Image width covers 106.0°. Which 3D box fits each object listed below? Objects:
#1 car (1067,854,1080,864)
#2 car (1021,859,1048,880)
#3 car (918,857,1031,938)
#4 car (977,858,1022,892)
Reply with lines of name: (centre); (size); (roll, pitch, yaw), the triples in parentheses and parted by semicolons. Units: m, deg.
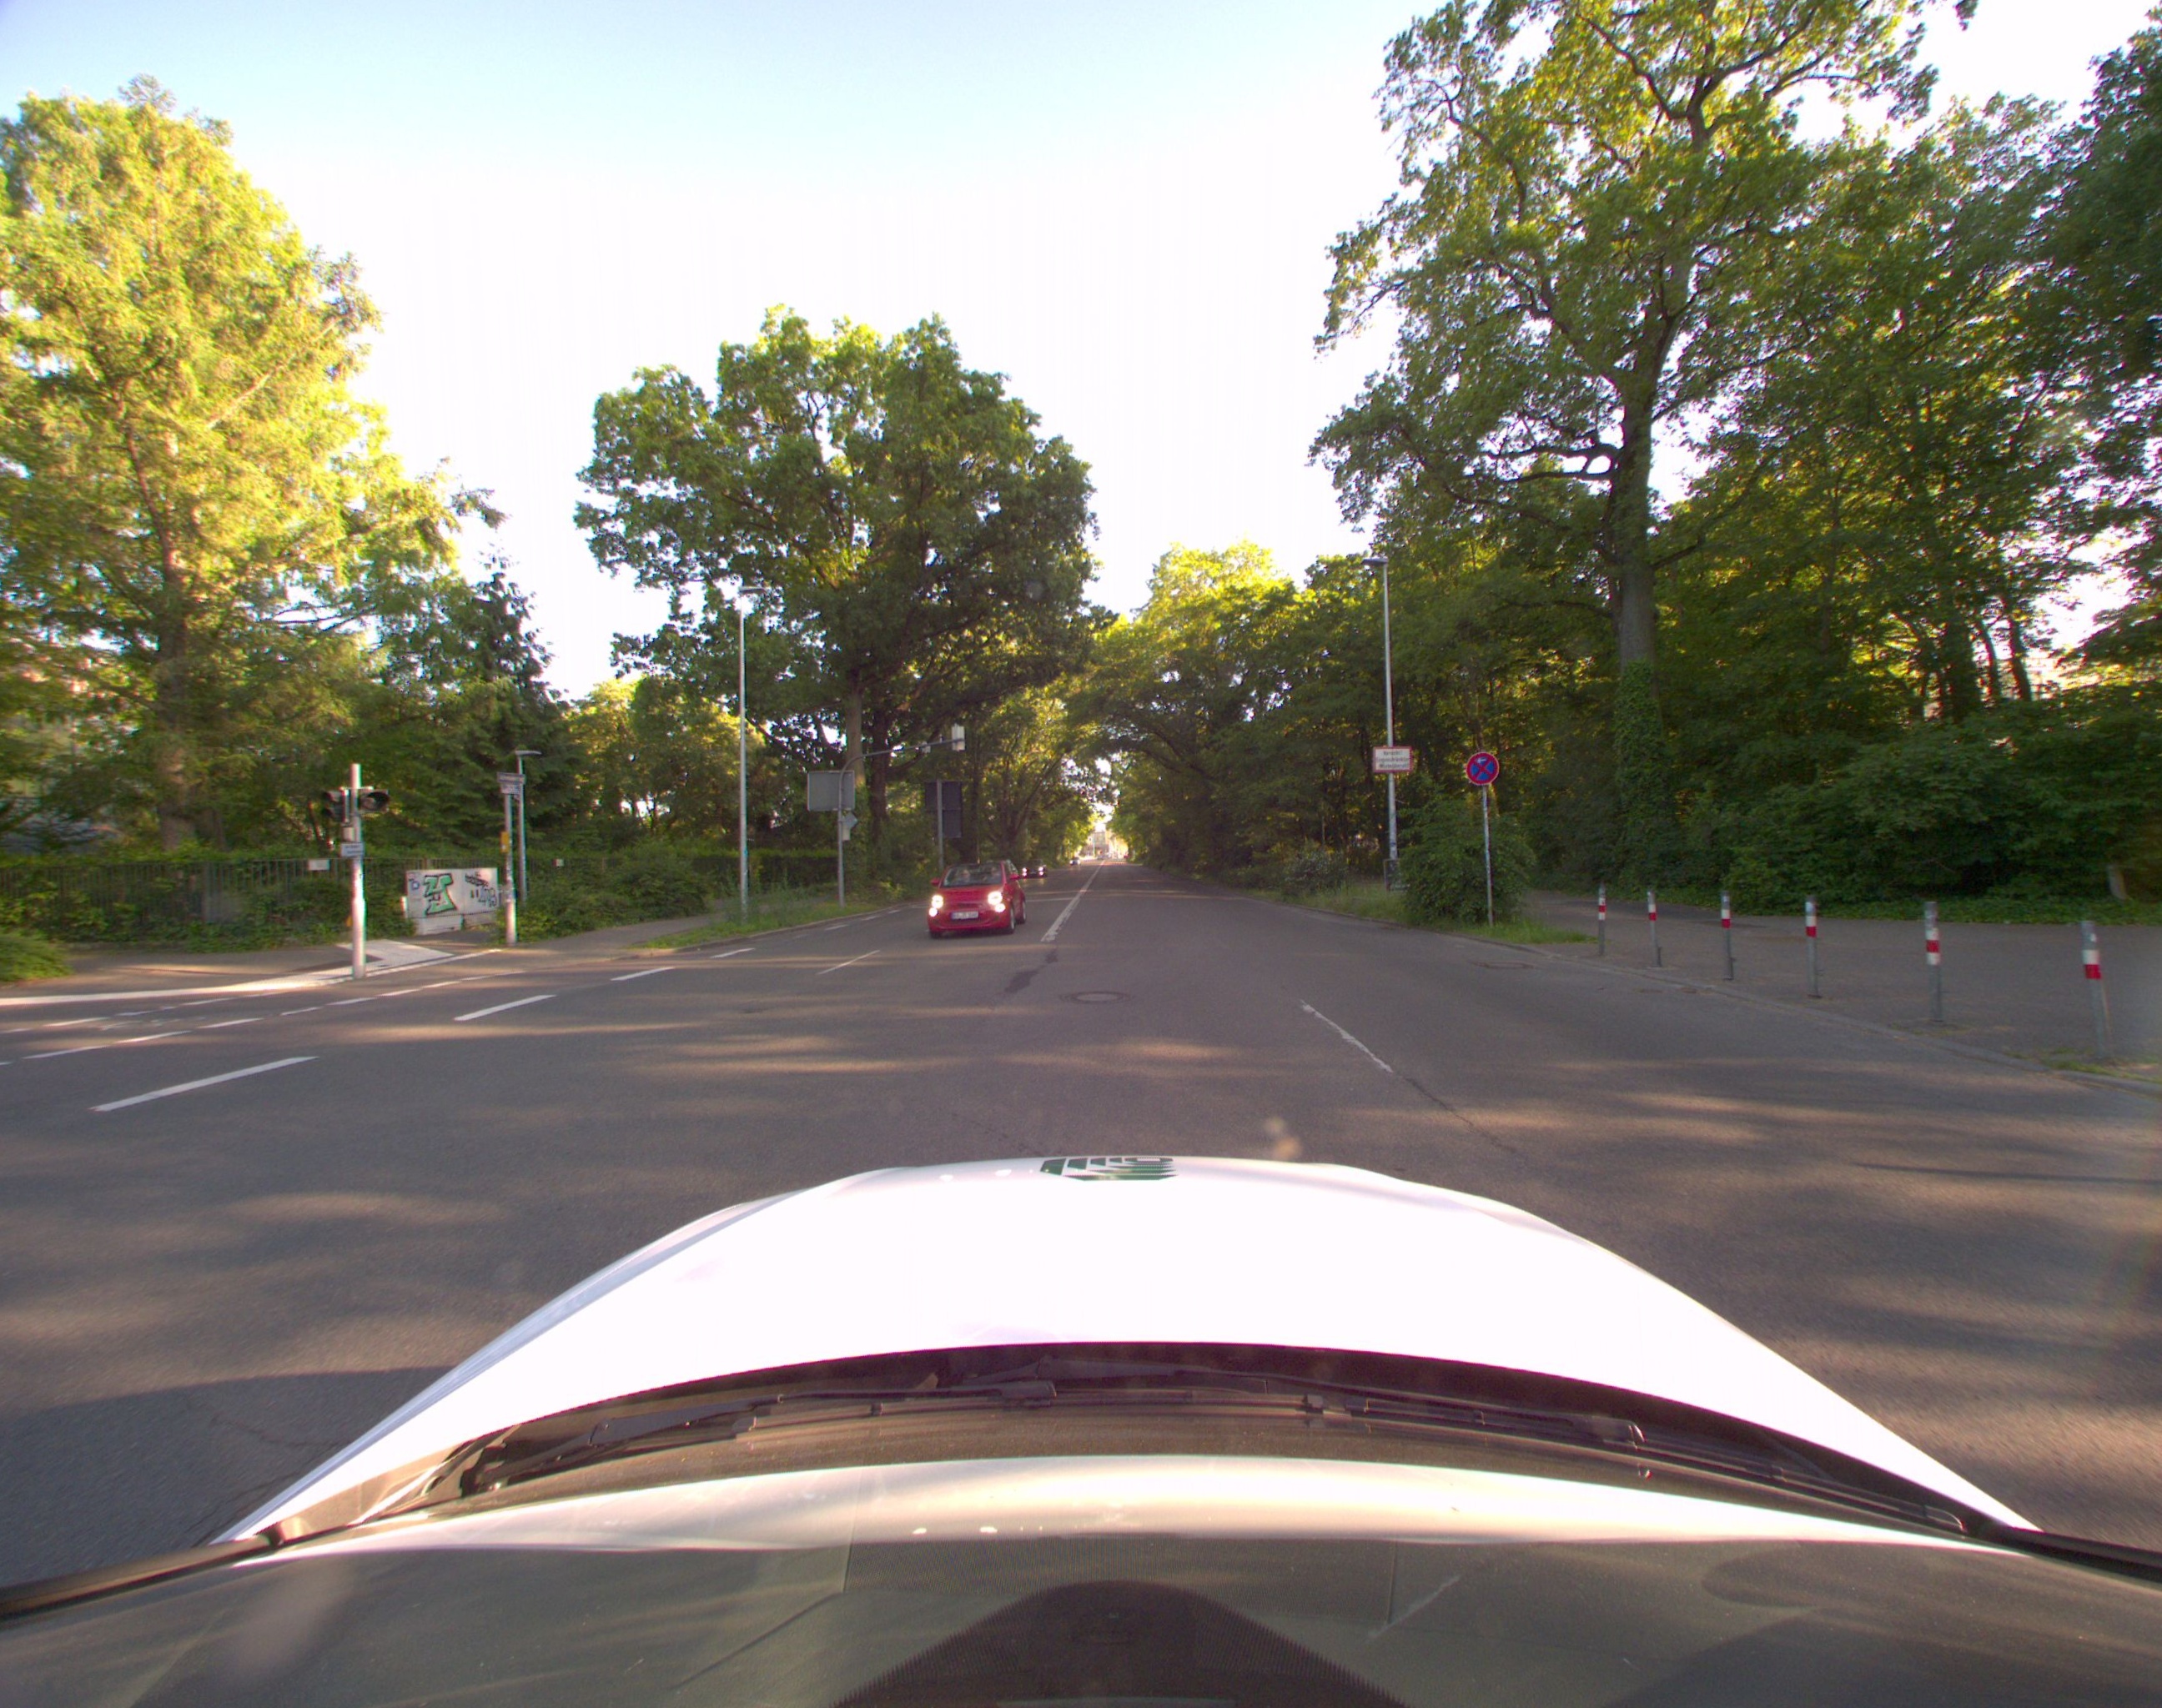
car: (-1.250, 0.853, 136.385); (1.800, 1.580, 4.321); (-4, 0, 2)
car: (-3.673, 1.218, 64.846); (1.701, 1.453, 3.641); (-4, 0, 2)
car: (-2.158, 0.867, 17.432); (1.744, 1.456, 3.641); (-4, -1, 2)
car: (-4.106, 1.020, 41.448); (1.671, 1.523, 3.903); (-4, 0, 2)
